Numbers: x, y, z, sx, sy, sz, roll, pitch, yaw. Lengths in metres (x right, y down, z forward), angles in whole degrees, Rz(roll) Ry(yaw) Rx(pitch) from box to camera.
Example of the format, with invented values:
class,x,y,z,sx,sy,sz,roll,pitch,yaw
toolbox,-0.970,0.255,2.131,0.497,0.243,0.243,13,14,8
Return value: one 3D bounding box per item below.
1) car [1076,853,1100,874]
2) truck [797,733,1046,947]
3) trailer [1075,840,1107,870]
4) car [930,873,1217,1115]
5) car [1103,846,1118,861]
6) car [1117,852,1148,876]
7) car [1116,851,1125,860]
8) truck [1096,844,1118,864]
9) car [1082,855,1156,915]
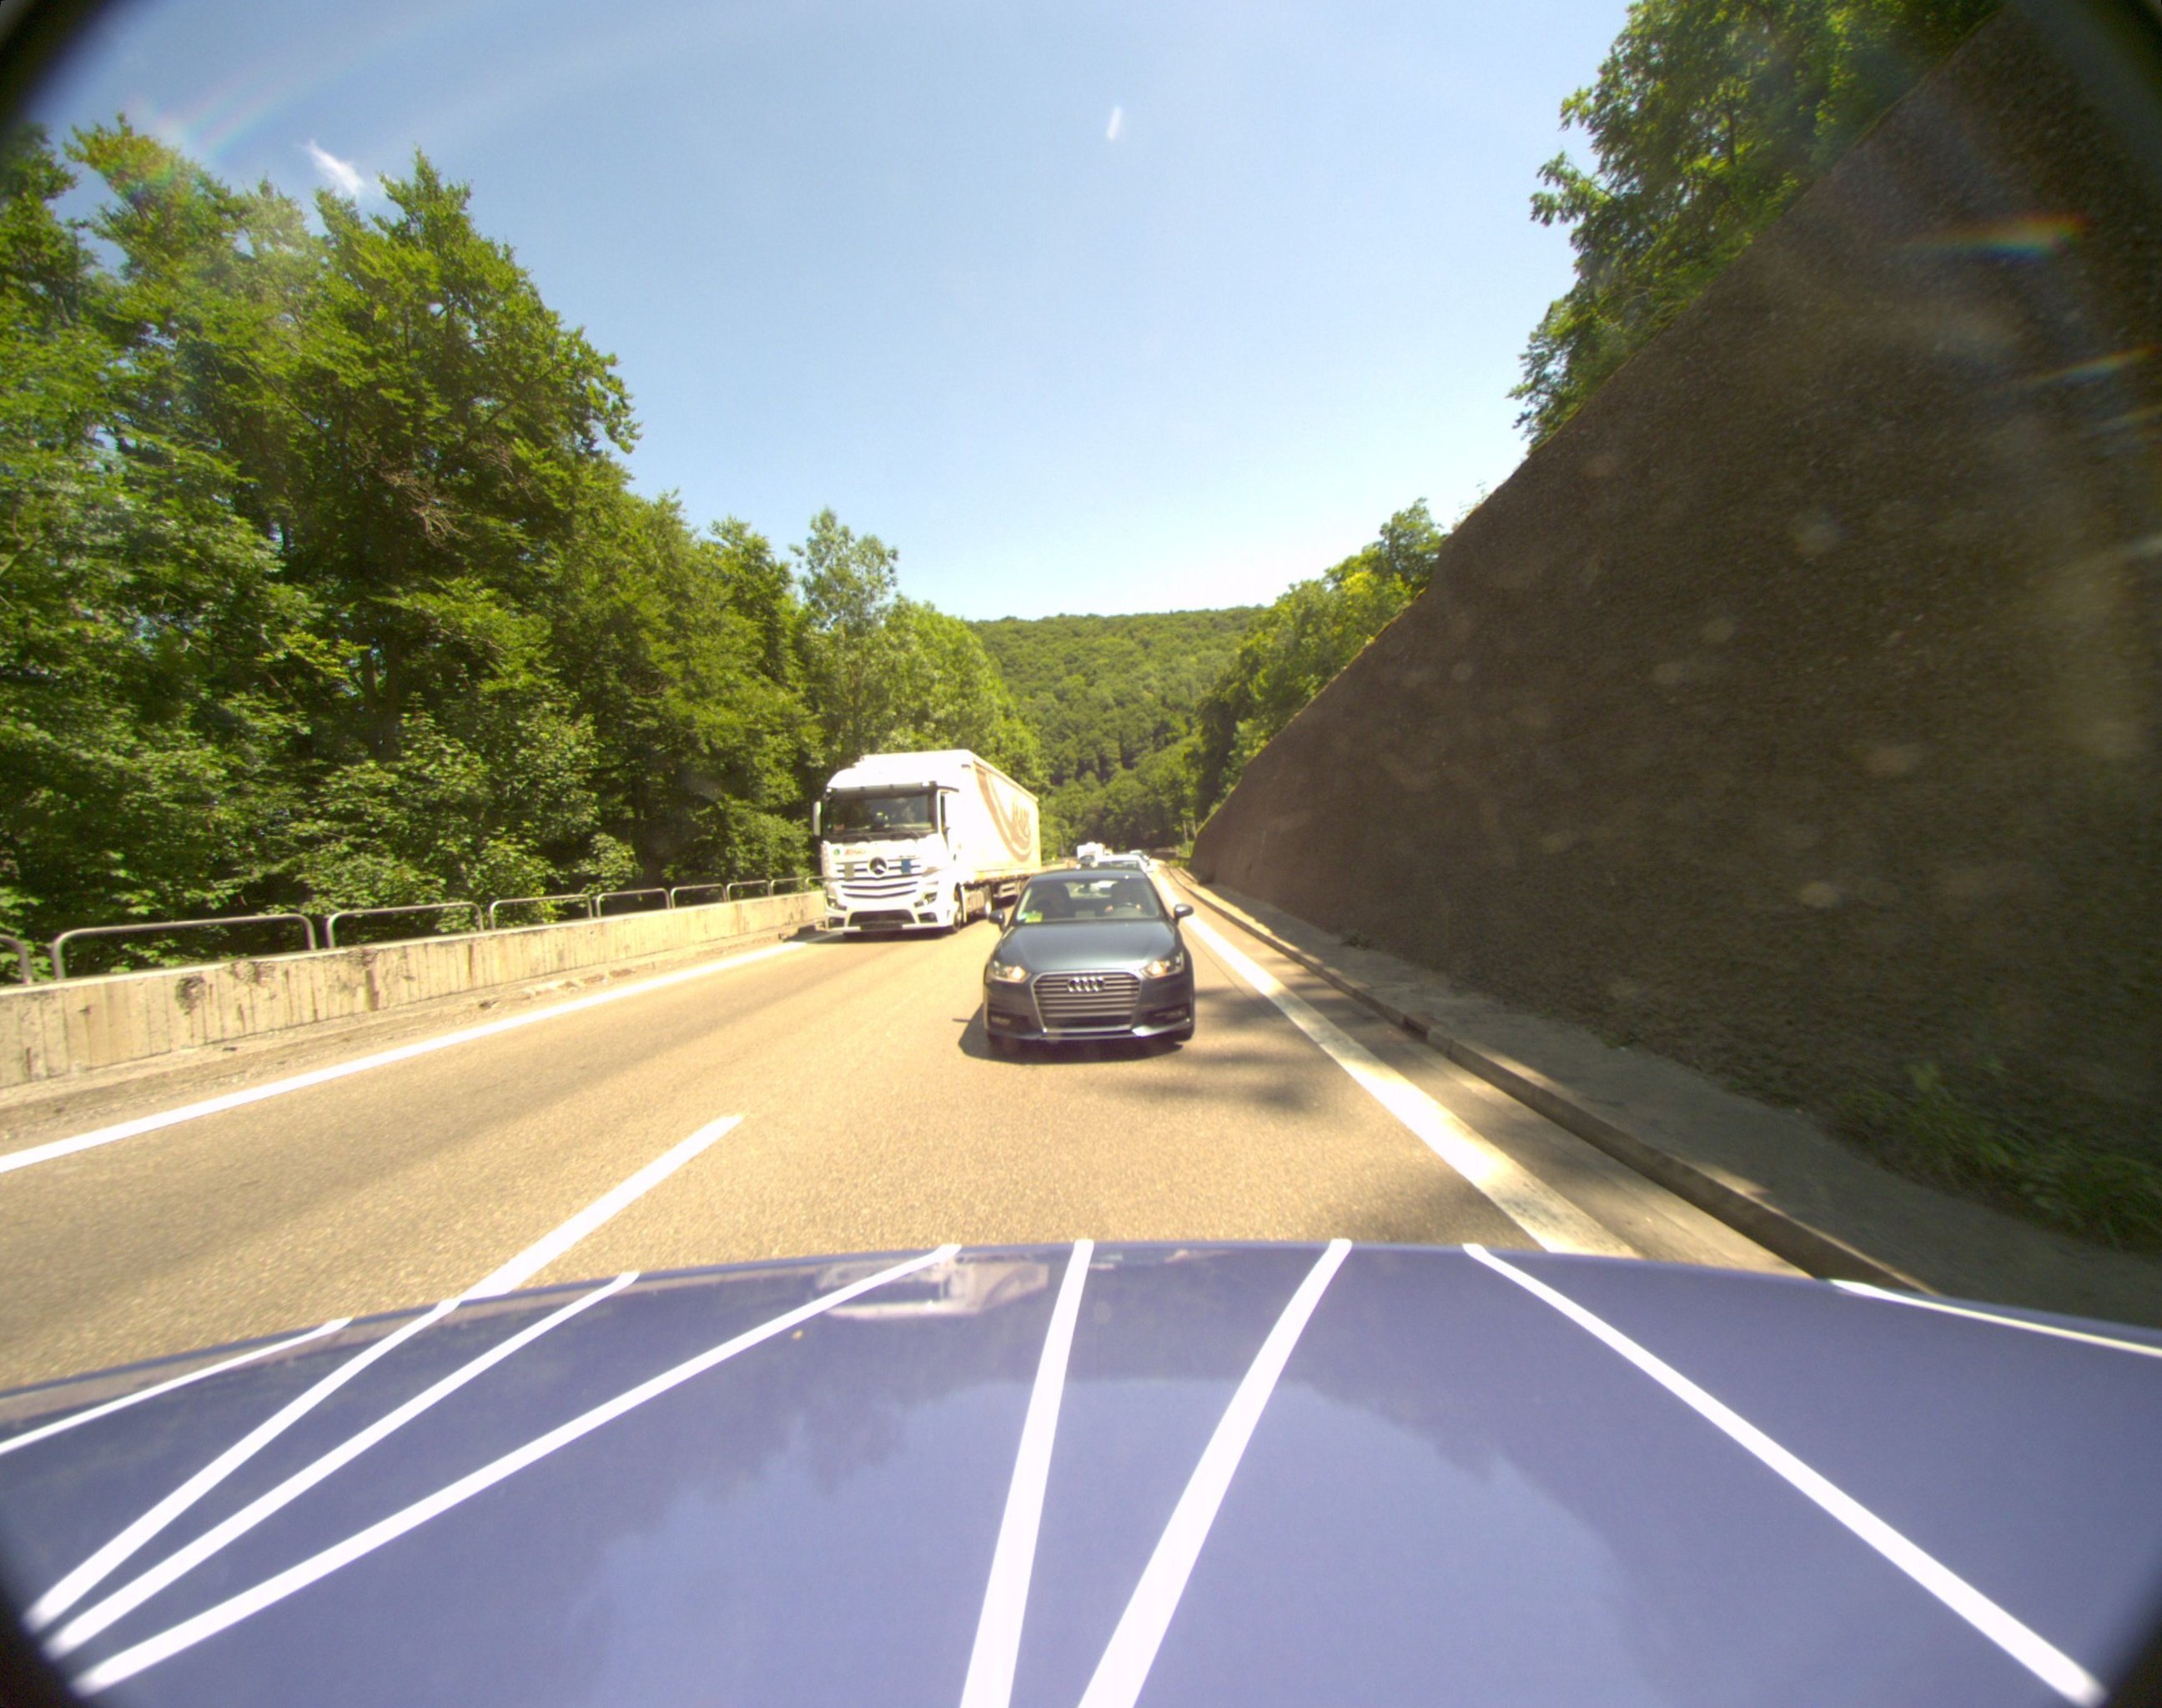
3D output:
class,x,y,z,sx,sy,sz,roll,pitch,yaw
car,0.638,0.829,68.249,1.998,1.652,4.000,-3,0,1
truck,-3.540,-0.302,23.374,2.968,4.108,16.711,-2,0,4
trailer,1.130,0.087,75.813,2.527,2.694,9.507,-2,0,4
car,0.100,0.941,6.817,1.755,1.350,4.123,-2,0,4
car,4.137,-0.073,108.284,1.998,2.002,4.000,-3,0,1
car,3.338,0.594,49.620,1.905,1.430,3.870,-2,0,4
car,7.892,0.213,151.966,1.613,1.707,3.555,-3,0,1
truck,3.471,0.019,99.929,2.441,2.395,6.815,-3,0,4
car,1.167,0.795,21.504,1.754,1.460,3.984,-2,0,7
